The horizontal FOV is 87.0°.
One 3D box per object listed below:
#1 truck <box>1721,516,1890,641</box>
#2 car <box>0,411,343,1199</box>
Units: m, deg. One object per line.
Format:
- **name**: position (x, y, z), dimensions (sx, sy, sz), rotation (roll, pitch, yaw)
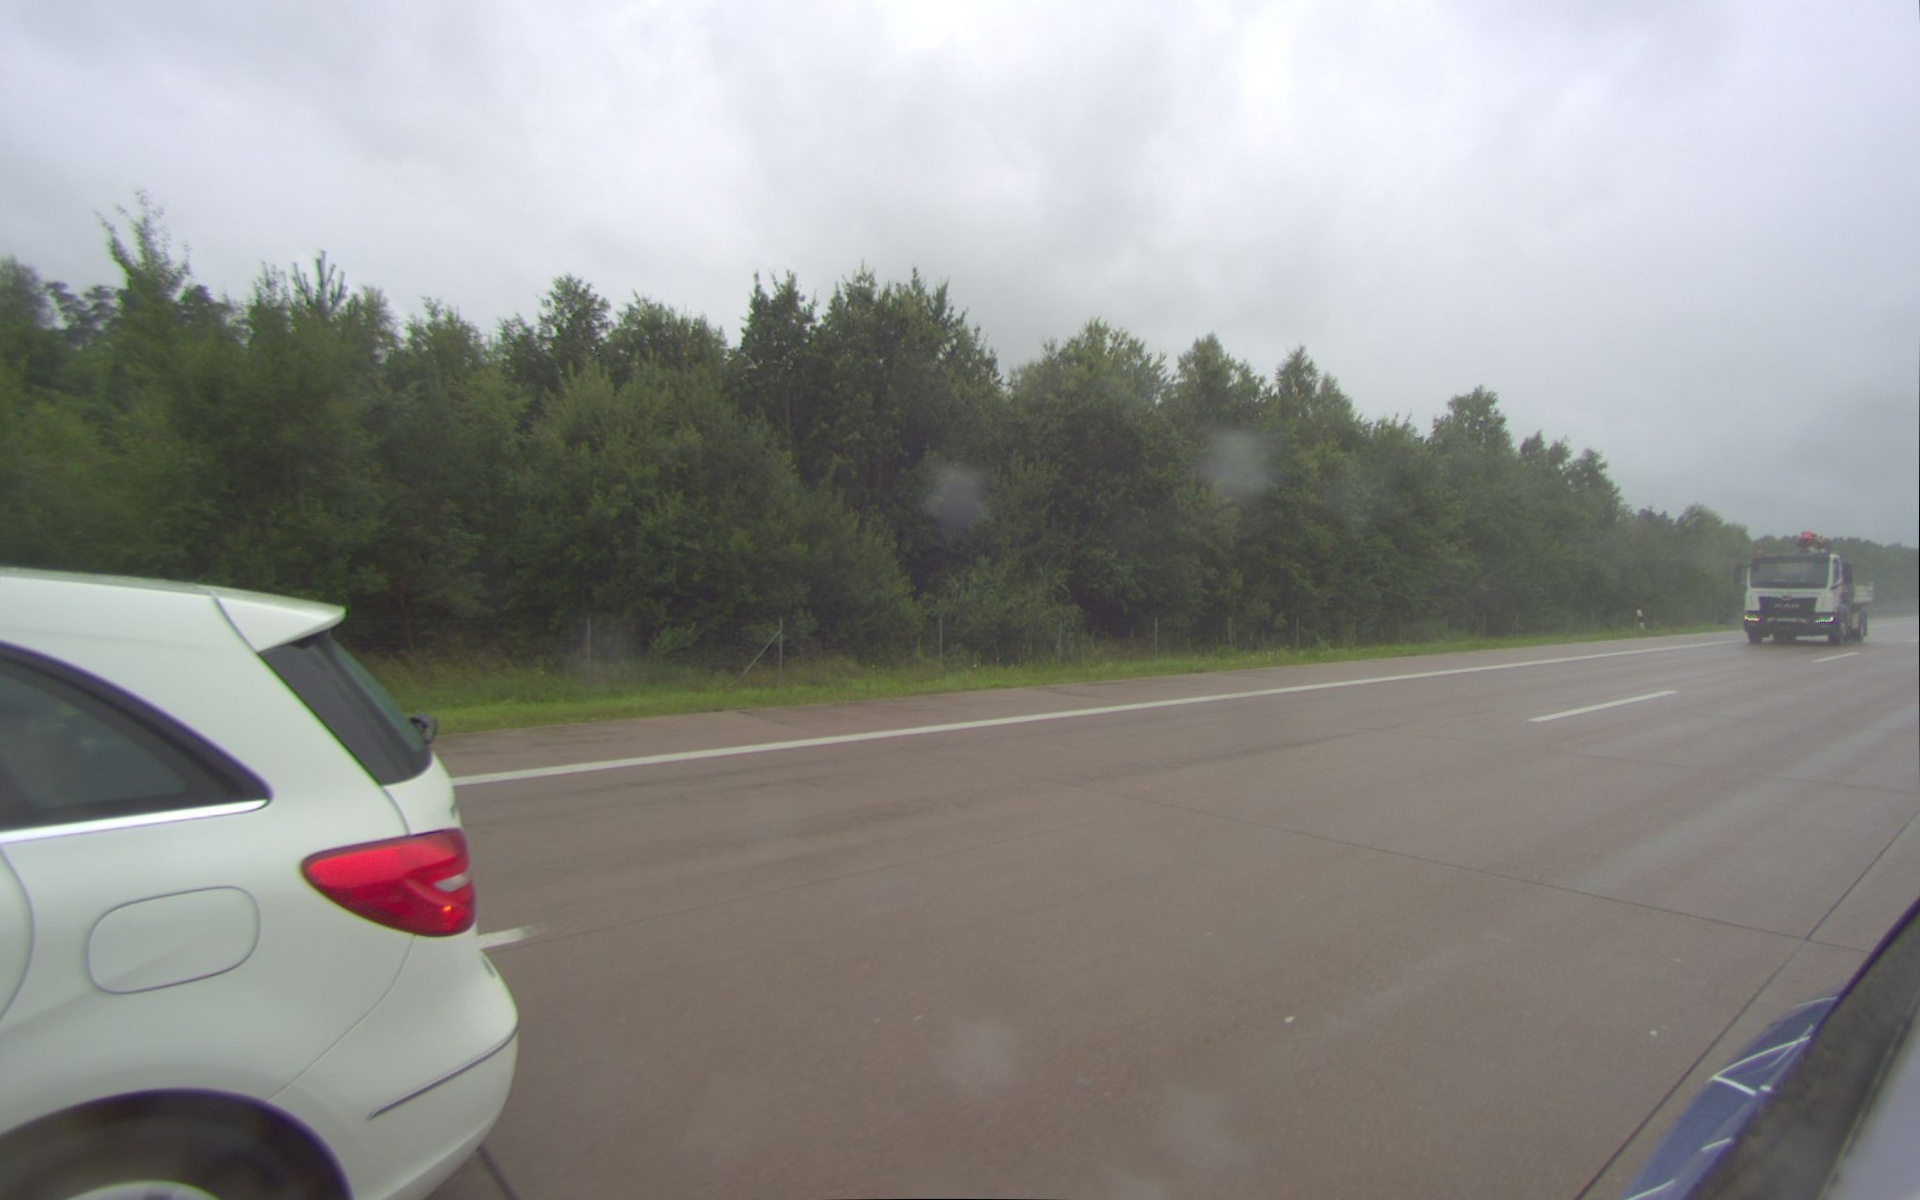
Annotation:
- **truck**: position (28.847, -0.661, 34.394), dimensions (7.815, 3.777, 3.240), rotation (0, 0, -41)
- **car**: position (-3.425, 0.601, 0.913), dimensions (4.663, 1.750, 1.810), rotation (0, 0, -43)
